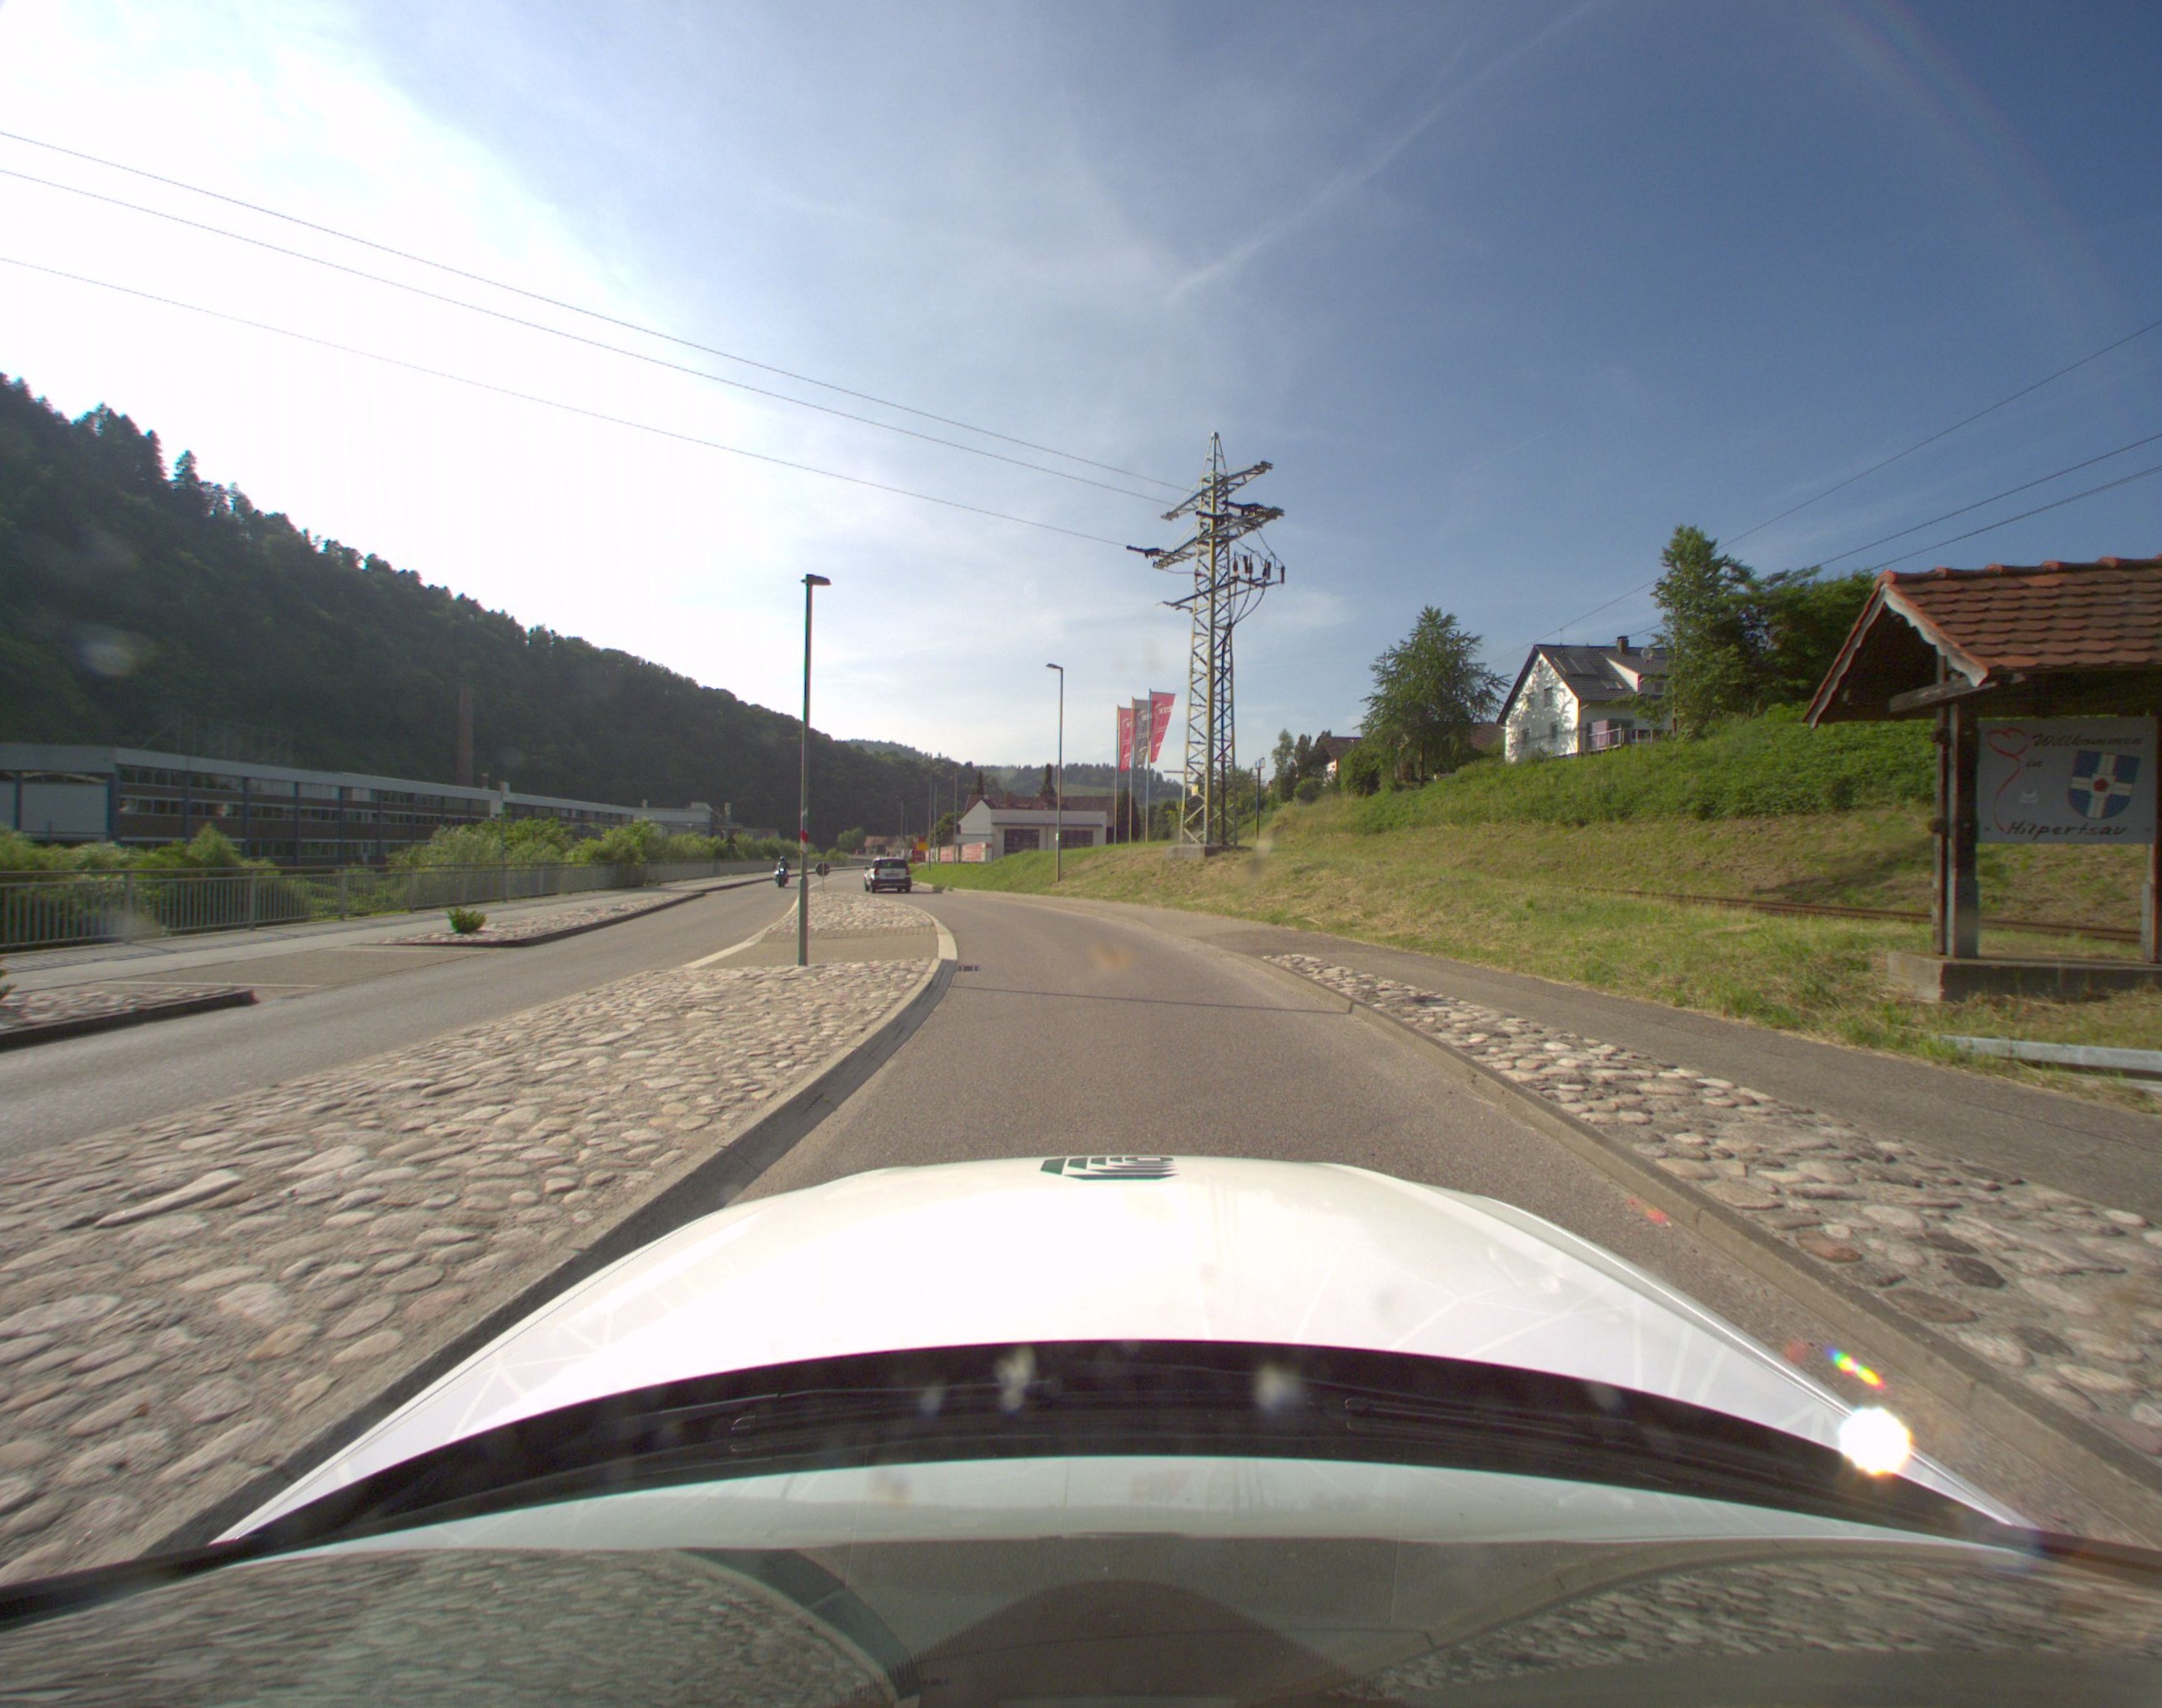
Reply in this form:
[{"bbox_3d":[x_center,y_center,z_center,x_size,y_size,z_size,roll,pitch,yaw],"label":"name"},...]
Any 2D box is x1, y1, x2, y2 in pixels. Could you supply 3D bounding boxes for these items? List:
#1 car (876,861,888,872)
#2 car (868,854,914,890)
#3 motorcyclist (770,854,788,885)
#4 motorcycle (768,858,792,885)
[{"bbox_3d":[-36.330,2.247,148.583,1.921,1.968,5.125,0,-1,-11],"label":"car"},{"bbox_3d":[-8.970,0.844,38.200,1.865,1.544,4.348,1,-1,-16],"label":"car"},{"bbox_3d":[-16.353,0.825,44.168,0.762,1.678,0.725,0,-2,-9],"label":"motorcyclist"},{"bbox_3d":[-16.345,0.911,44.261,0.772,1.422,2.311,0,-1,-9],"label":"motorcycle"}]
